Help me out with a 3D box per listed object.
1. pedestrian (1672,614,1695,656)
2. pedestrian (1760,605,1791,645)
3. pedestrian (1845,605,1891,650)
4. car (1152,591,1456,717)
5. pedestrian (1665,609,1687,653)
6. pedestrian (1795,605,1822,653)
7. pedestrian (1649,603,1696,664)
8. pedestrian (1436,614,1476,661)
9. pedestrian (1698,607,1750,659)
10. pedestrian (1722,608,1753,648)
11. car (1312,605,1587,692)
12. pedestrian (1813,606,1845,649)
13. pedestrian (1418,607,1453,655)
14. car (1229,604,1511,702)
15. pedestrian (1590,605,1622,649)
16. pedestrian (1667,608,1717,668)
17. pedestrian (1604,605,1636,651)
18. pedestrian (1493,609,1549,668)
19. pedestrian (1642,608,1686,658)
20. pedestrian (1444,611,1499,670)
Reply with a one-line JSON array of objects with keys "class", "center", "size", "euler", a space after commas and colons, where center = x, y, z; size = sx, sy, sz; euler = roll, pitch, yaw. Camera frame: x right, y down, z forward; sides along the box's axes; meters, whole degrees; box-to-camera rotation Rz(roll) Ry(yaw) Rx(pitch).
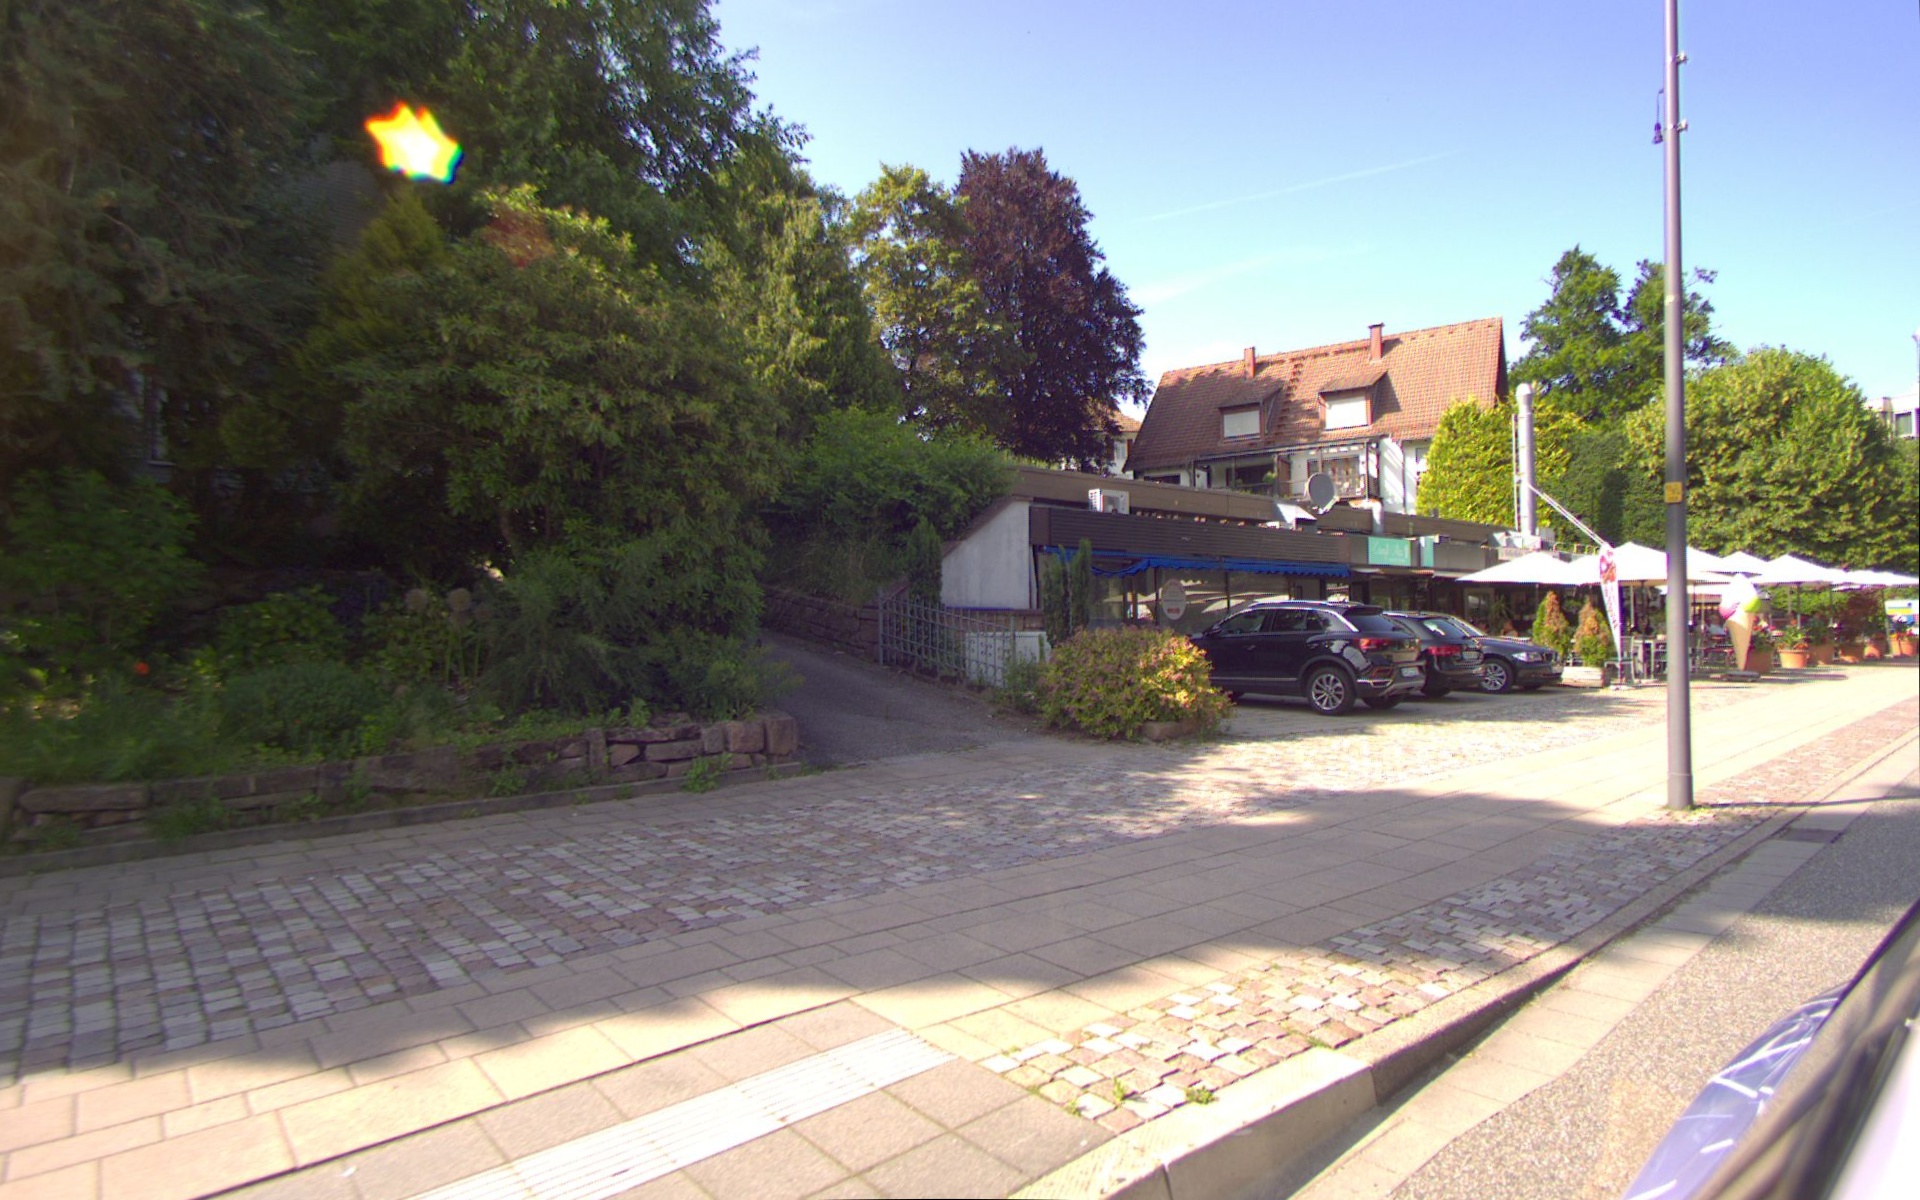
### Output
[{"class": "pedestrian", "center": [22.518, 1.096, 31.503], "size": [0.498, 1.284, 0.410], "euler": [1, -1, -29]}, {"class": "pedestrian", "center": [25.736, 0.793, 31.937], "size": [0.585, 1.253, 0.507], "euler": [0, -1, 10]}, {"class": "pedestrian", "center": [27.141, 0.808, 30.262], "size": [0.634, 1.300, 0.949], "euler": [1, -1, -41]}, {"class": "car", "center": [4.930, 0.713, 14.880], "size": [1.719, 1.600, 3.878], "euler": [0, -1, -43]}, {"class": "pedestrian", "center": [21.365, 0.918, 30.194], "size": [0.433, 1.281, 0.469], "euler": [1, -1, -43]}, {"class": "pedestrian", "center": [22.415, 0.757, 26.735], "size": [0.470, 1.261, 0.586], "euler": [0, 0, 34]}, {"class": "pedestrian", "center": [16.583, 0.769, 23.568], "size": [0.692, 1.399, 0.807], "euler": [-1, -1, 20]}, {"class": "pedestrian", "center": [13.177, 0.998, 26.901], "size": [0.686, 1.224, 0.688], "euler": [0, -1, -8]}, {"class": "pedestrian", "center": [19.455, 0.826, 25.780], "size": [0.686, 1.277, 0.814], "euler": [0, -1, -21]}, {"class": "pedestrian", "center": [24.915, 0.897, 32.428], "size": [0.685, 1.247, 0.509], "euler": [0, -1, -20]}, {"class": "car", "center": [8.913, 0.822, 18.739], "size": [1.678, 1.396, 4.272], "euler": [0, -1, -38]}, {"class": "pedestrian", "center": [26.713, 0.830, 31.115], "size": [0.634, 1.300, 0.648], "euler": [1, -1, -41]}, {"class": "pedestrian", "center": [13.367, 0.866, 28.453], "size": [0.625, 1.316, 0.687], "euler": [0, -1, 0]}, {"class": "car", "center": [6.798, 0.812, 17.163], "size": [1.717, 1.433, 4.118], "euler": [0, -1, -38]}, {"class": "pedestrian", "center": [19.346, 0.812, 30.315], "size": [0.629, 1.298, 0.578], "euler": [0, -1, 14]}, {"class": "pedestrian", "center": [16.029, 0.811, 22.155], "size": [0.809, 1.277, 0.690], "euler": [-1, -1, 42]}, {"class": "pedestrian", "center": [19.230, 0.799, 29.506], "size": [0.629, 1.321, 0.578], "euler": [0, -1, 14]}, {"class": "pedestrian", "center": [12.350, 0.832, 22.288], "size": [0.795, 1.277, 0.702], "euler": [0, -1, -13]}, {"class": "pedestrian", "center": [18.398, 0.853, 26.469], "size": [0.690, 1.277, 0.808], "euler": [-1, -1, 15]}, {"class": "pedestrian", "center": [11.306, 0.883, 22.378], "size": [0.795, 1.277, 0.702], "euler": [0, -1, -13]}]
